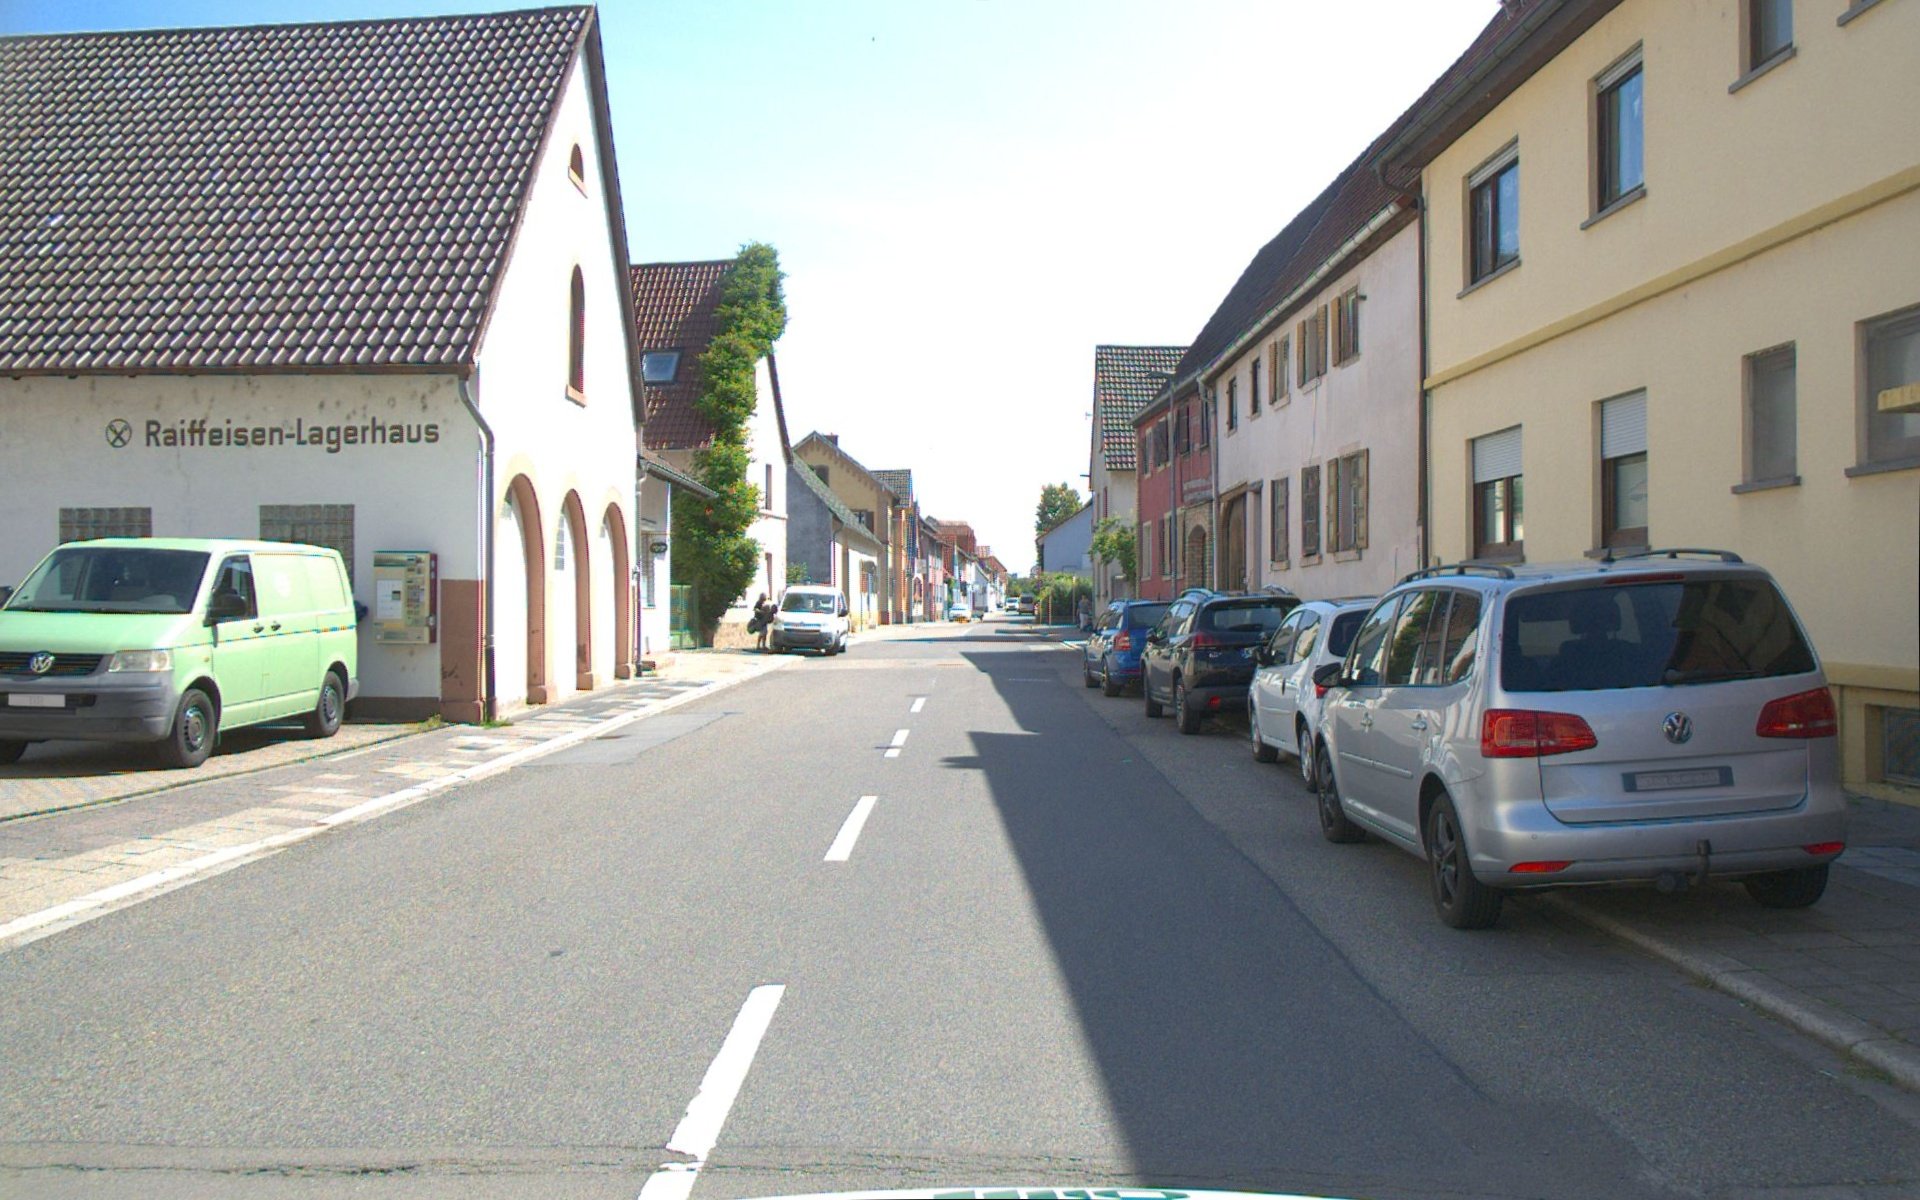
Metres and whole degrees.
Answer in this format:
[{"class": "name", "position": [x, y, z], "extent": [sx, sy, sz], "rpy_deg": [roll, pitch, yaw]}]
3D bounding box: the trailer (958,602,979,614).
[{"class": "trailer", "position": [0.784, 0.772, 156.042], "extent": [1.952, 1.109, 4.000], "rpy_deg": [0, 0, 0]}]

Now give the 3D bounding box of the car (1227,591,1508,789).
[{"class": "car", "position": [3.399, 0.683, 14.424], "extent": [1.519, 1.463, 3.720], "rpy_deg": [-1, 0, 0]}]

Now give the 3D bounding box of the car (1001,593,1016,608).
[{"class": "car", "position": [7.065, 0.121, 243.314], "extent": [2.113, 2.116, 3.999], "rpy_deg": [-1, -2, 0]}]

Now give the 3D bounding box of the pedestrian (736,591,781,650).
[{"class": "pedestrian", "position": [-5.484, 0.553, 45.048], "extent": [1.113, 1.579, 1.016], "rpy_deg": [0, 0, -2]}]

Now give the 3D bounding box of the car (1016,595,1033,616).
[{"class": "car", "position": [7.851, 0.674, 202.083], "extent": [1.976, 2.613, 4.000], "rpy_deg": [-1, 0, 1]}]

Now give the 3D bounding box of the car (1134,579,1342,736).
[{"class": "car", "position": [3.142, 0.605, 19.455], "extent": [1.664, 1.611, 4.026], "rpy_deg": [-1, 0, -1]}]

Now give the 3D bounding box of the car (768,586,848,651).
[{"class": "car", "position": [-4.063, 0.465, 44.681], "extent": [1.817, 1.676, 4.429], "rpy_deg": [0, 0, -1]}]

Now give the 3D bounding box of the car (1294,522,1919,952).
[{"class": "car", "position": [3.156, 0.566, 8.936], "extent": [1.859, 1.758, 4.249], "rpy_deg": [0, 0, 0]}]

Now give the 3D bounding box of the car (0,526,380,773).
[{"class": "car", "position": [-7.362, 0.400, 15.756], "extent": [1.952, 1.999, 4.670], "rpy_deg": [0, 0, 1]}]

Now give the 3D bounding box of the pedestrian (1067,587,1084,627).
[{"class": "pedestrian", "position": [4.859, 0.285, 69.751], "extent": [0.703, 1.693, 0.893], "rpy_deg": [0, 0, 5]}]

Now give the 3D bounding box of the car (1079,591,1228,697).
[{"class": "car", "position": [2.948, 0.640, 26.072], "extent": [1.664, 1.495, 4.408], "rpy_deg": [-1, 0, -2]}]

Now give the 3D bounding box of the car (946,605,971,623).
[{"class": "car", "position": [-0.104, 1.134, 139.262], "extent": [1.952, 1.467, 4.001], "rpy_deg": [-1, 0, 1]}]
